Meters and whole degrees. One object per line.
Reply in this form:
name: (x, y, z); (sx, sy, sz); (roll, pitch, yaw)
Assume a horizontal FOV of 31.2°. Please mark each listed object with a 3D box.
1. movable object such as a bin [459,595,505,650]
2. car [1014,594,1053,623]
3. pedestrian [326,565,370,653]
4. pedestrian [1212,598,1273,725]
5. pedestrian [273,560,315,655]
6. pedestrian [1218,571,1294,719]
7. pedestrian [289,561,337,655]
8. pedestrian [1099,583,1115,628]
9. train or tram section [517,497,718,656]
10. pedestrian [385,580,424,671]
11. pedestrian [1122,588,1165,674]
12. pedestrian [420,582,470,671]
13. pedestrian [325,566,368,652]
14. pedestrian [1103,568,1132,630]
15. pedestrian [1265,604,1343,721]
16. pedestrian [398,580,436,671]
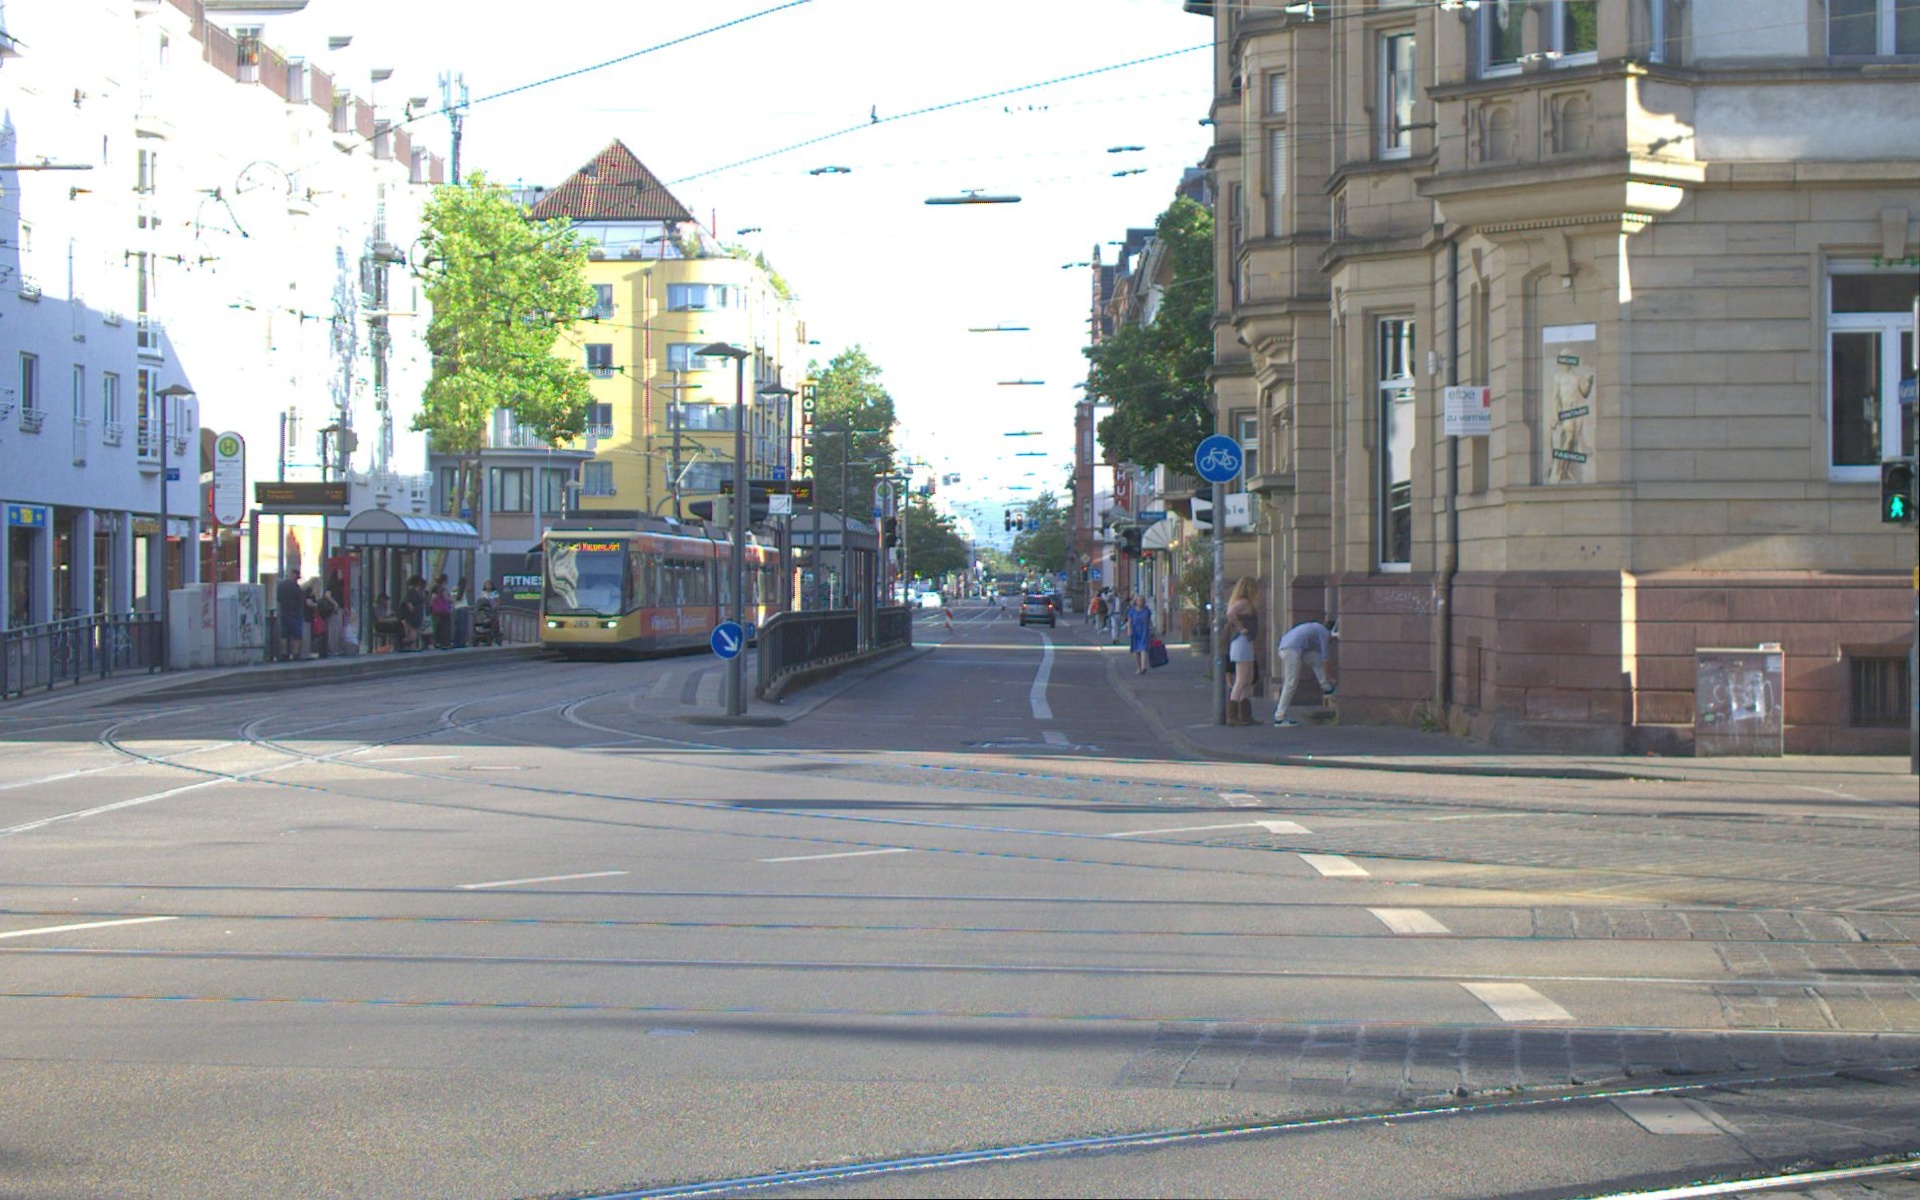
movable object such as a bin: (-11.143, 0.524, 80.159); (0.937, 1.282, 0.935); (0, 0, -1)
car: (3.778, 0.444, 176.932); (1.993, 1.444, 4.000); (1, 0, 1)
pedestrian: (-11.762, 0.177, 66.024); (0.695, 1.685, 0.672); (1, -1, -22)
pedestrian: (4.147, 0.900, 50.559); (0.801, 1.818, 0.797); (-1, 1, 1)
pedestrian: (-11.961, 0.140, 61.744); (0.599, 1.686, 0.613); (0, -1, 1)
pedestrian: (3.485, 0.535, 40.563); (0.794, 1.715, 0.719); (-1, -1, 0)
pedestrian: (-12.011, 0.154, 63.833); (0.765, 1.727, 0.519); (0, -1, 43)
pedestrian: (5.803, 0.210, 135.949); (0.560, 1.790, 0.650); (0, 0, 8)
train or tram section: (-8.194, -0.542, 84.258); (2.885, 3.478, 14.166); (-2, 0, 2)
pedestrian: (-11.622, 0.530, 71.910); (0.695, 1.898, 0.672); (0, -1, -1)
pedestrian: (3.573, 0.593, 67.065); (0.762, 1.640, 0.832); (-1, 1, 1)
pedestrian: (-11.063, 0.563, 73.871); (0.931, 1.898, 0.881); (0, 0, -1)
pedestrian: (-12.112, 0.179, 67.826); (0.695, 1.685, 0.672); (1, -1, -22)
pedestrian: (4.659, -0.032, 101.601); (0.713, 1.768, 0.773); (-3, 1, -2)
pedestrian: (3.975, 0.726, 39.787); (0.794, 1.327, 0.719); (-1, -1, 0)
pedestrian: (-11.446, 0.540, 72.464); (0.695, 1.898, 0.672); (0, -1, -1)
